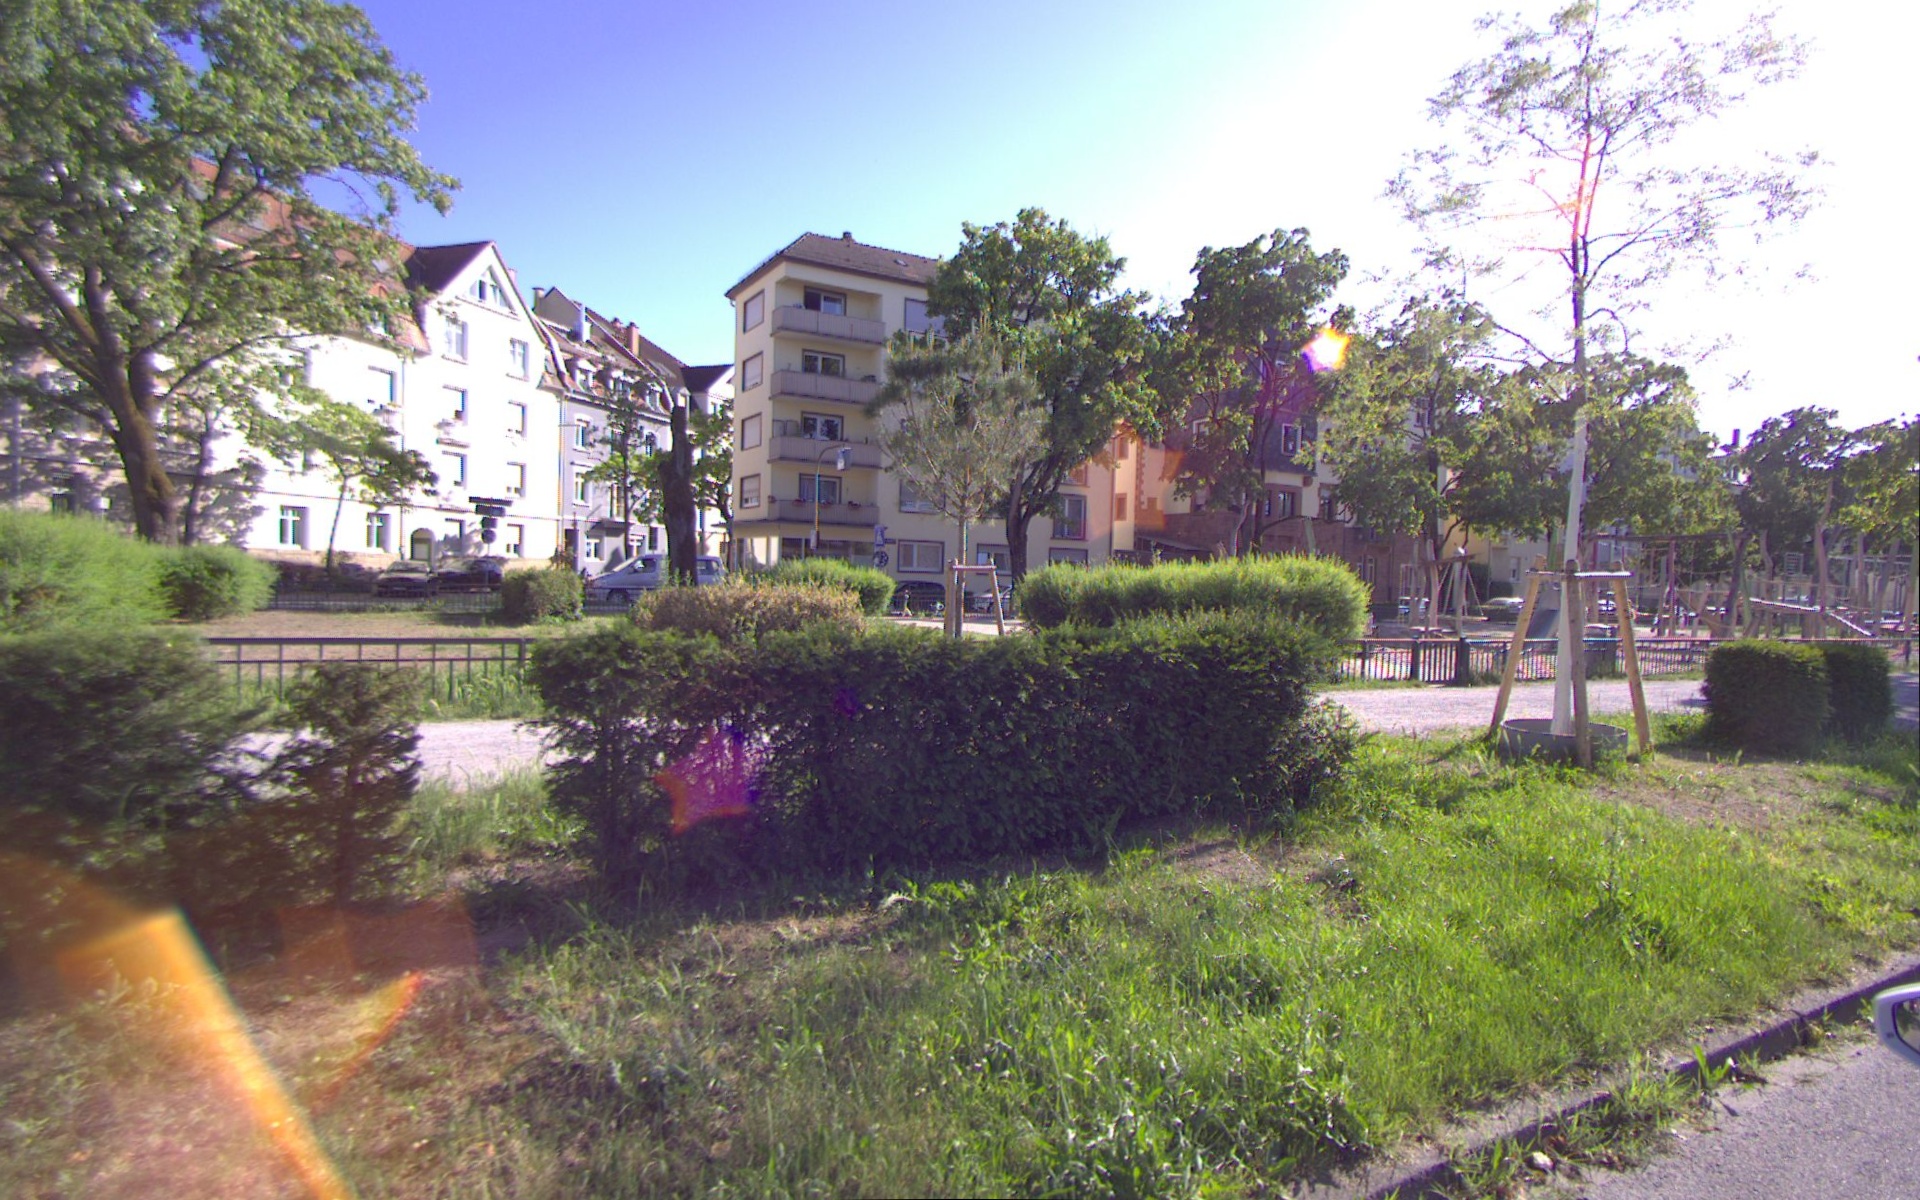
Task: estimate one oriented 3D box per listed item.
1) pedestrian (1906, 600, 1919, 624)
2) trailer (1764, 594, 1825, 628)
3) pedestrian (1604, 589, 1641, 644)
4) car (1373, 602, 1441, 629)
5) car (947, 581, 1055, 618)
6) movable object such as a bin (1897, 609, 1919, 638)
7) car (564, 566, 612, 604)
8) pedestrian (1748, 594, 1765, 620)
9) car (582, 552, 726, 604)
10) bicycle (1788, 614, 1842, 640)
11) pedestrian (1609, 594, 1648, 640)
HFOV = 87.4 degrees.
[{"bbox_3d":[53.179,0.671,55.777,0.637,1.336,0.650,2,2,-1],"label":"pedestrian"},{"bbox_3d":[75.079,1.024,90.356,5.736,2.909,2.331,1,2,-31],"label":"trailer"},{"bbox_3d":[20.870,0.522,31.665,0.639,1.684,0.648,2,2,-12],"label":"pedestrian"},{"bbox_3d":[27.341,0.969,61.467,3.953,1.530,1.785,1,2,-30],"label":"car"},{"bbox_3d":[1.906,-0.011,46.086,4.710,1.530,1.896,1,2,-32],"label":"car"},{"bbox_3d":[43.375,1.082,44.638,1.045,1.258,2.316,1,1,-33],"label":"movable object such as a bin"},{"bbox_3d":[-16.627,-0.704,44.818,1.775,1.530,3.976,1,2,-24],"label":"car"},{"bbox_3d":[52.315,0.445,65.957,0.642,1.683,0.645,1,1,-30],"label":"pedestrian"},{"bbox_3d":[-10.720,-0.746,35.270,4.533,1.657,1.785,1,2,-30],"label":"car"},{"bbox_3d":[39.828,1.246,46.809,0.494,1.122,1.785,1,2,-31],"label":"bicycle"},{"bbox_3d":[20.188,0.507,30.343,0.639,1.347,0.648,2,2,-12],"label":"pedestrian"}]
